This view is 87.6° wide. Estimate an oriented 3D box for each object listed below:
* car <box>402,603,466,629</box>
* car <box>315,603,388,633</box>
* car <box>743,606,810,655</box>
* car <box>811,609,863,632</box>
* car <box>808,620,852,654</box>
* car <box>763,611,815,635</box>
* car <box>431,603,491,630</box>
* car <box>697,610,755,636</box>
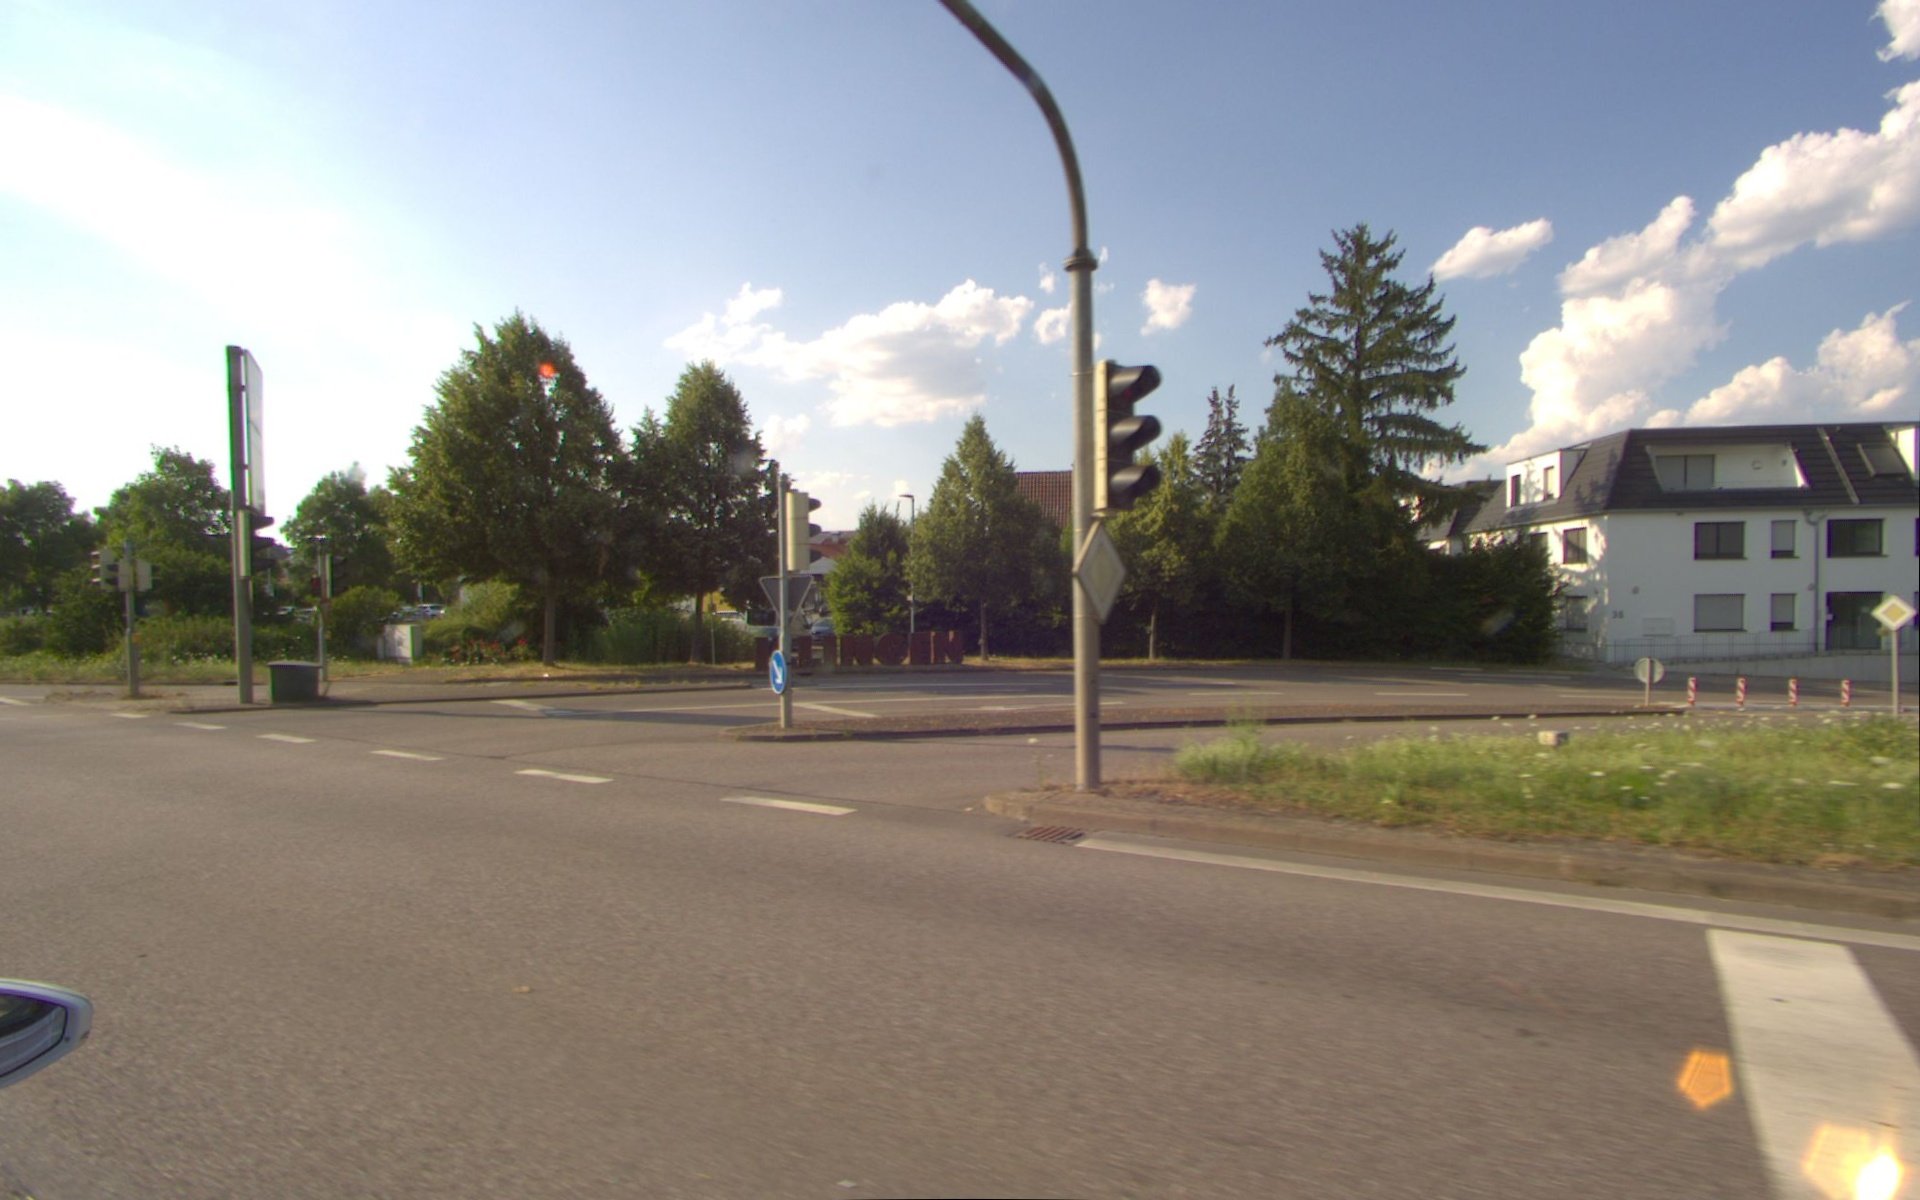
[{"bbox_3d":[-43.719,1.361,83.390,1.963,2.039,4.932,-1,-3,13],"label":"car"},{"bbox_3d":[-43.442,1.292,71.615,1.929,2.039,4.658,-1,-2,7],"label":"car"},{"bbox_3d":[-9.858,1.688,54.330,1.962,2.538,5.140,-1,-2,9],"label":"car"},{"bbox_3d":[-9.150,1.516,74.589,3.500,1.649,1.719,-1,-2,8],"label":"car"},{"bbox_3d":[-7.976,2.281,61.561,1.425,1.978,3.999,-1,-2,12],"label":"car"},{"bbox_3d":[-11.262,1.534,65.979,3.190,1.570,1.566,0,-2,0],"label":"car"},{"bbox_3d":[-41.377,1.388,83.163,1.963,2.039,4.672,-1,-3,13],"label":"car"},{"bbox_3d":[-14.296,1.394,61.146,3.071,1.528,1.578,-1,-2,18],"label":"car"}]
